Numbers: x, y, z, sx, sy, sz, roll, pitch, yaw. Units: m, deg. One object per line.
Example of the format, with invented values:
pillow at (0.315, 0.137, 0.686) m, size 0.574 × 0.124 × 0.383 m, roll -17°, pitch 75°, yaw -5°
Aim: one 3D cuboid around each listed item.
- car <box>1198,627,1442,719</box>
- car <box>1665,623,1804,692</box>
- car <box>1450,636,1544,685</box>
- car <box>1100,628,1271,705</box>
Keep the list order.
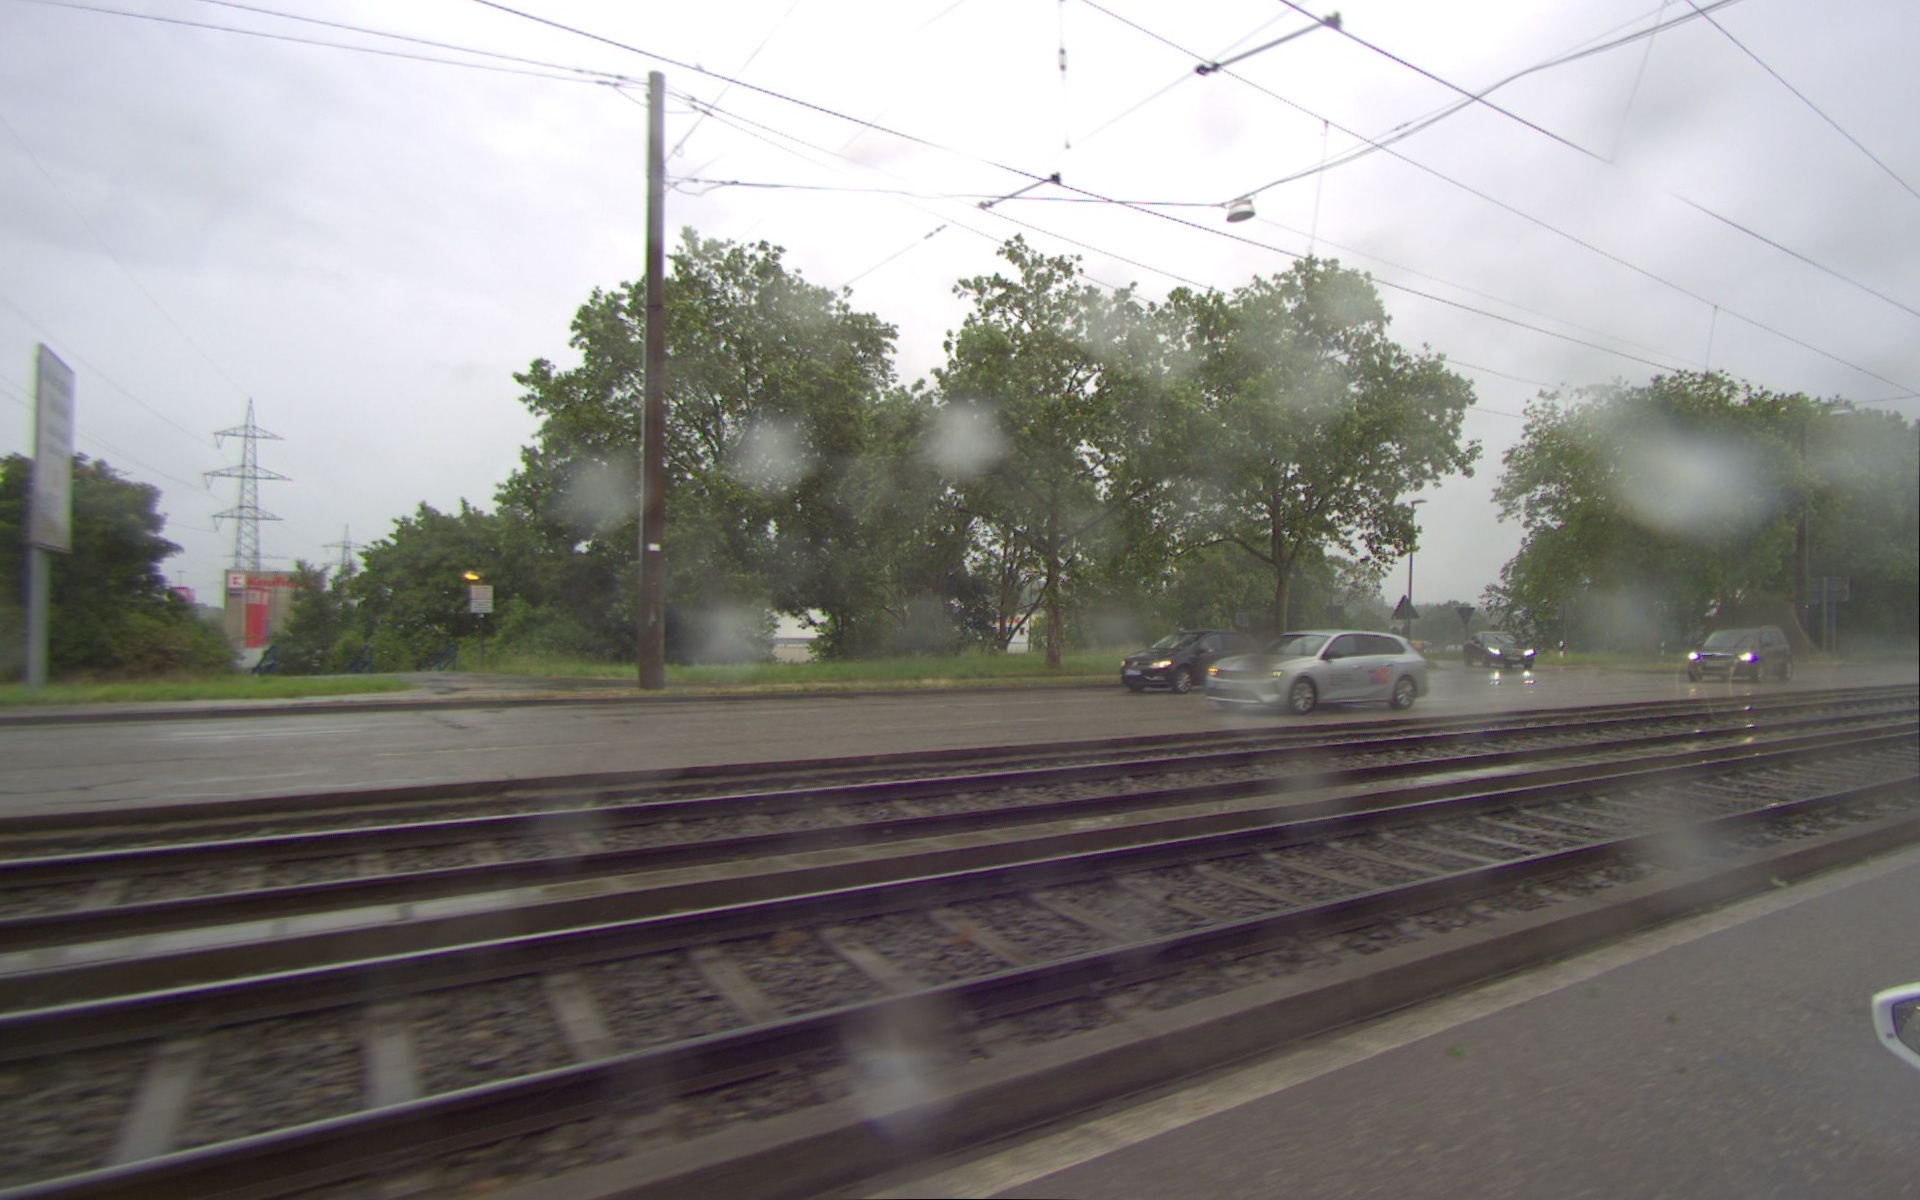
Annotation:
car at (6.539, 1.221, 18.088) m, size 4.495 × 1.372 × 1.732 m, roll 0°, pitch 1°, yaw -32°
car at (23.563, 1.670, 30.519) m, size 4.952 × 1.834 × 1.875 m, roll 0°, pitch 1°, yaw -34°
car at (22.601, 2.511, 42.494) m, size 1.810 × 1.709 × 4.651 m, roll 1°, pitch 1°, yaw 5°
car at (5.373, 1.498, 23.772) m, size 3.957 × 1.573 × 1.679 m, roll 0°, pitch 1°, yaw -33°
